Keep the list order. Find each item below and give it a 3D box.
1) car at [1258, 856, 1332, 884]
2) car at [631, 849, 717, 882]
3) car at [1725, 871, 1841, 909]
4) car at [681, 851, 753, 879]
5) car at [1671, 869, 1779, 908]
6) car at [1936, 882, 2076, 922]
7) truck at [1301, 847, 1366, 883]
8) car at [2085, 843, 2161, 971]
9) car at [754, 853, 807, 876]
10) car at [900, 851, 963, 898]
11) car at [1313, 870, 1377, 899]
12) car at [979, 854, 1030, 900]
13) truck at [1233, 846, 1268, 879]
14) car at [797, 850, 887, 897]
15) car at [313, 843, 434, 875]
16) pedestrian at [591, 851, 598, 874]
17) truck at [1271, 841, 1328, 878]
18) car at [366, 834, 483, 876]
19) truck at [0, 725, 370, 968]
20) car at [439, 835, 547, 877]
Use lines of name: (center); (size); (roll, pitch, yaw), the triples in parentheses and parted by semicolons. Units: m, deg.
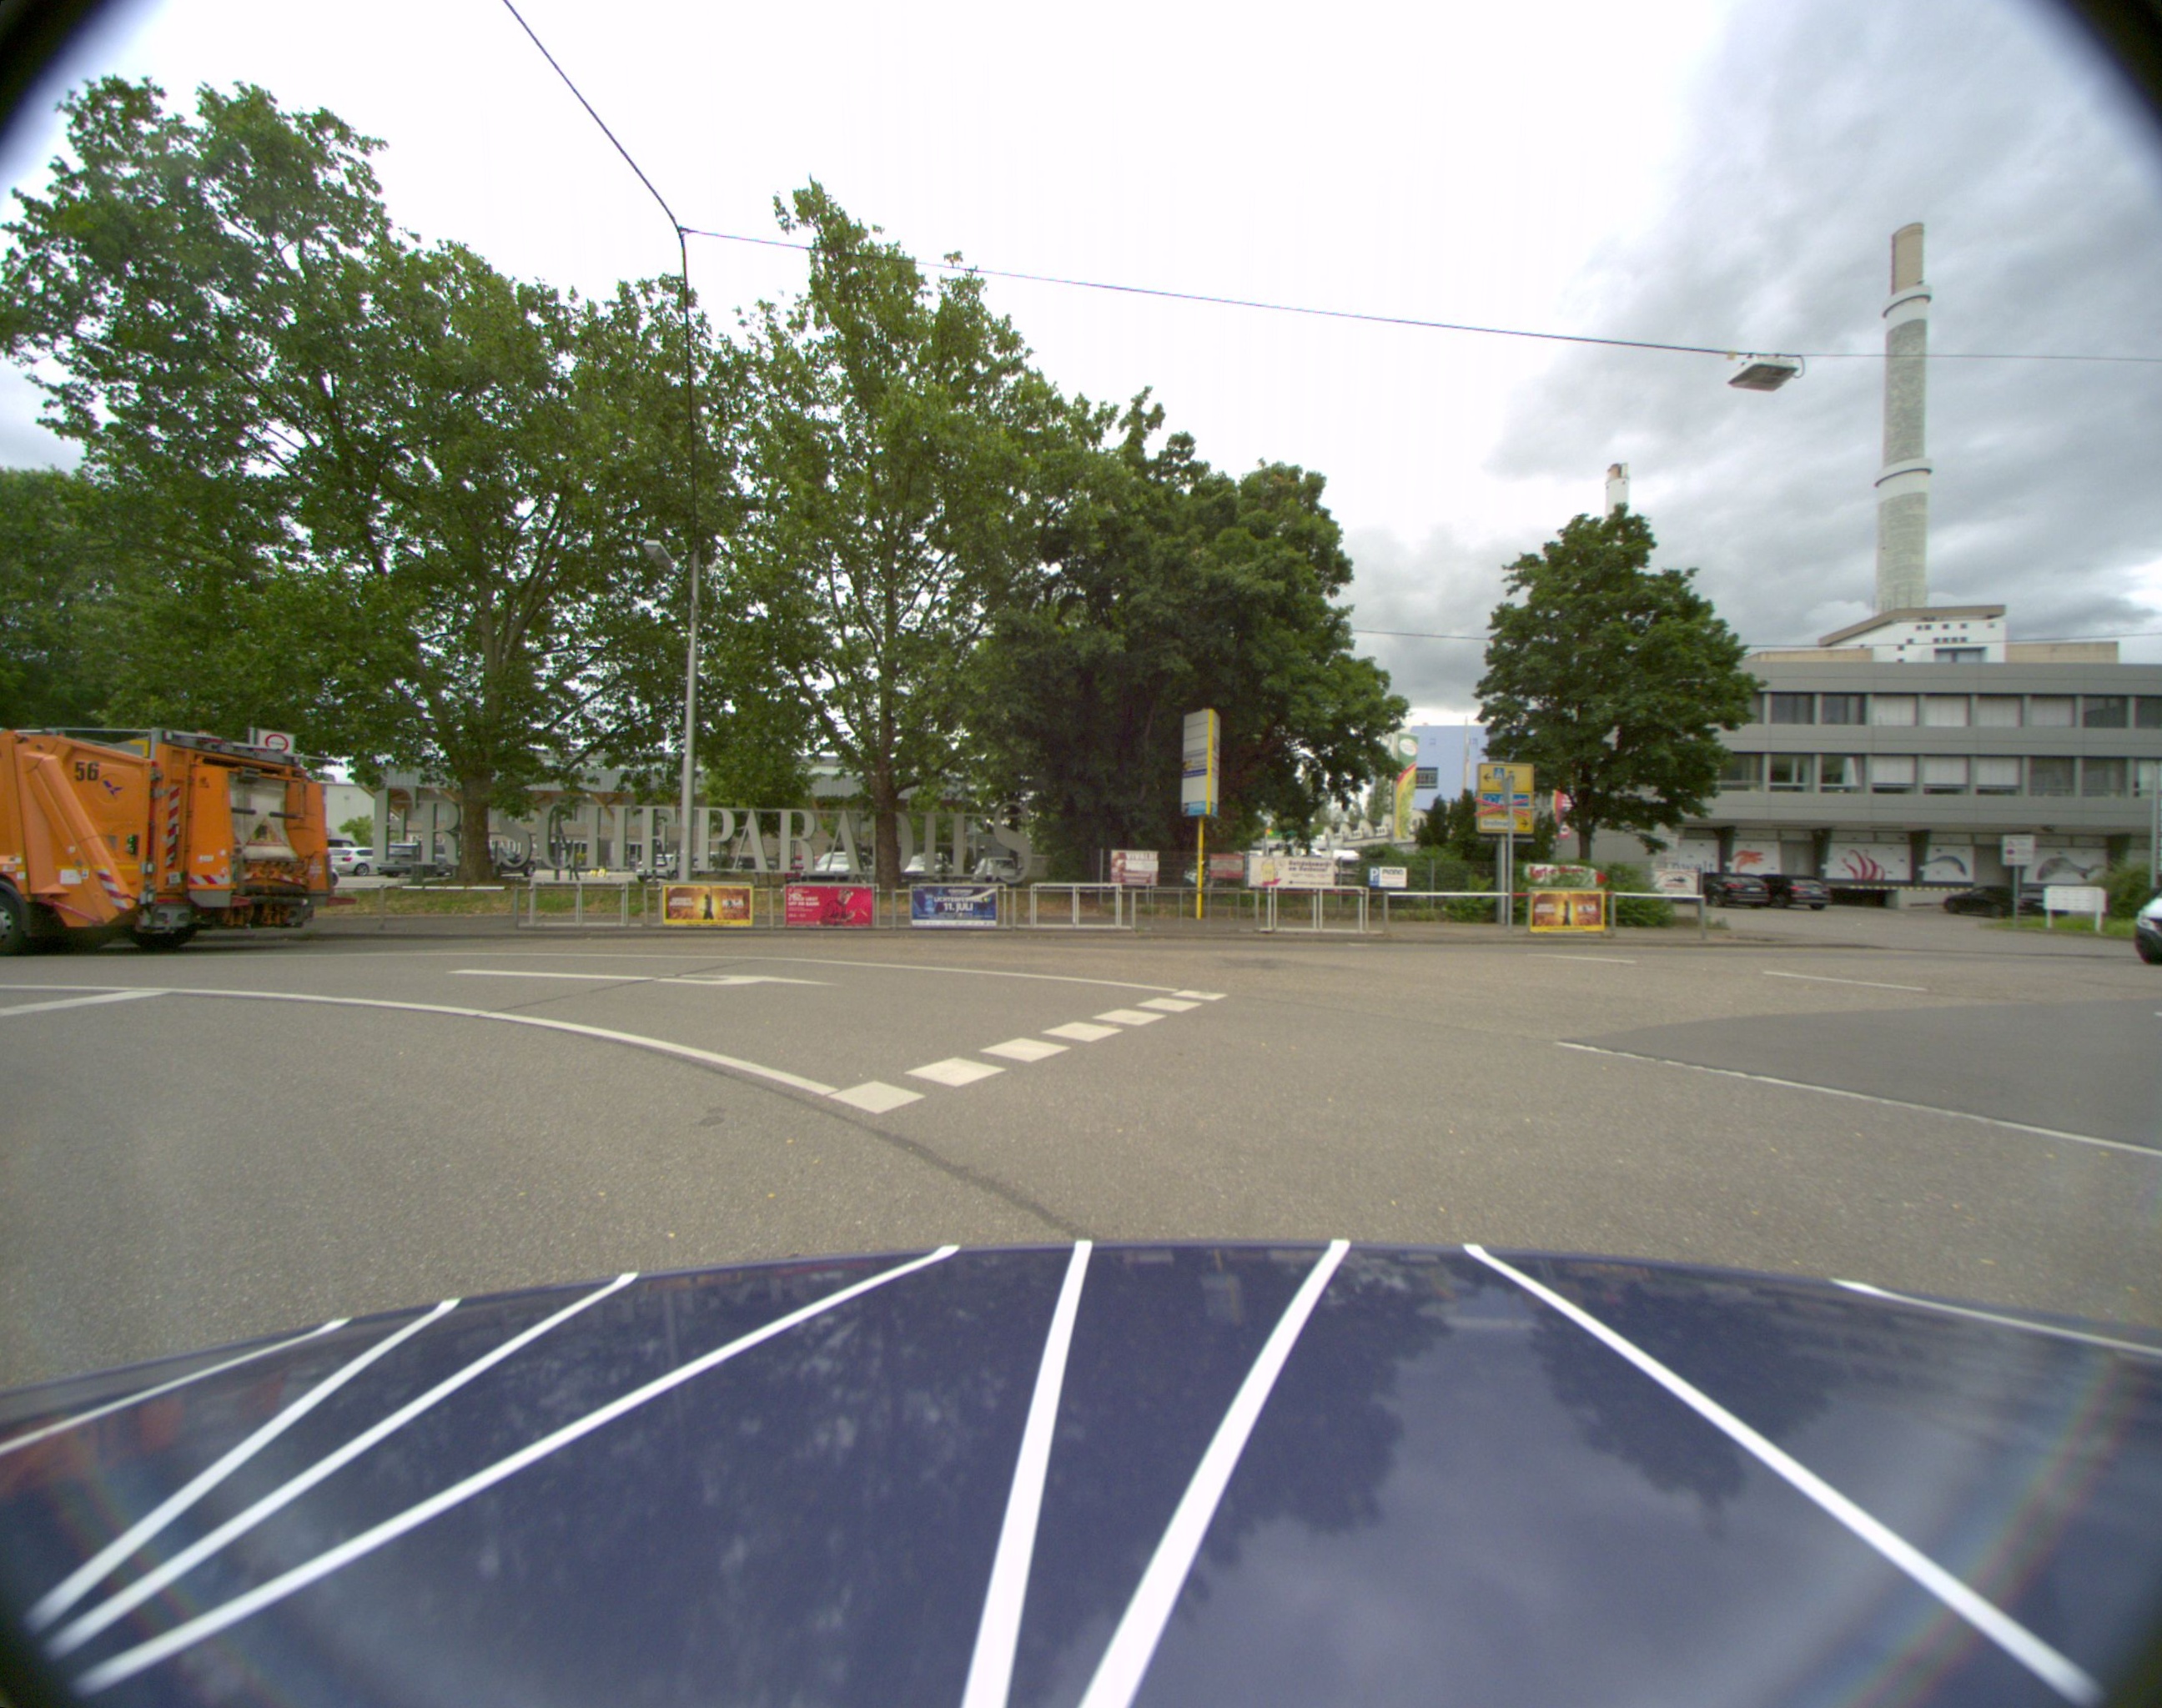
car: (22.339, 1.693, 79.483); (7.146, 2.716, 2.245); (2, -1, 4)
car: (-21.126, 0.611, 39.716); (1.999, 1.552, 4.641); (1, -1, -1)
car: (34.477, 1.716, 37.505); (1.837, 1.608, 4.425); (2, 0, 5)
car: (-21.241, 0.649, 44.592); (1.999, 1.552, 4.641); (1, -1, -1)
car: (31.666, 1.647, 37.552); (1.836, 1.608, 4.467); (2, 0, 6)
car: (42.483, 2.132, 35.099); (2.045, 1.437, 4.836); (1, 1, 23)
truck: (29.866, 1.364, 90.990); (2.849, 3.909, 15.733); (2, -1, 2)
car: (23.720, 1.077, 14.811); (6.101, 2.444, 2.388); (1, -1, -9)
car: (-21.864, 0.803, 55.442); (1.999, 1.552, 4.641); (1, -1, -1)
car: (-5.542, 0.773, 28.698); (1.591, 1.603, 4.318); (1, -2, -1)
car: (12.294, 1.382, 35.592); (1.708, 1.241, 3.702); (2, -1, 1)
car: (-2.837, 0.865, 28.752); (1.591, 1.603, 4.001); (1, -2, -1)
truck: (22.184, 1.129, 100.044); (2.996, 4.141, 9.192); (1, -1, 4)
car: (-8.966, 0.744, 28.912); (1.883, 1.603, 4.527); (1, -2, 1)
car: (-36.931, 0.272, 39.871); (1.999, 1.549, 4.641); (1, -1, -1)
pedestrian: (-37.512, 0.626, 58.597); (0.342, 1.754, 0.437); (2, -2, -23)
truck: (25.806, 0.752, 90.932); (2.849, 3.909, 15.734); (2, -1, 2)
car: (-33.649, 0.110, 39.154); (1.999, 2.001, 4.641); (1, -1, -1)
truck: (-18.151, -0.080, 12.229); (10.416, 3.505, 2.797); (0, -1, -3)
car: (-30.358, 0.155, 39.430); (1.999, 2.001, 4.641); (1, -1, -1)
